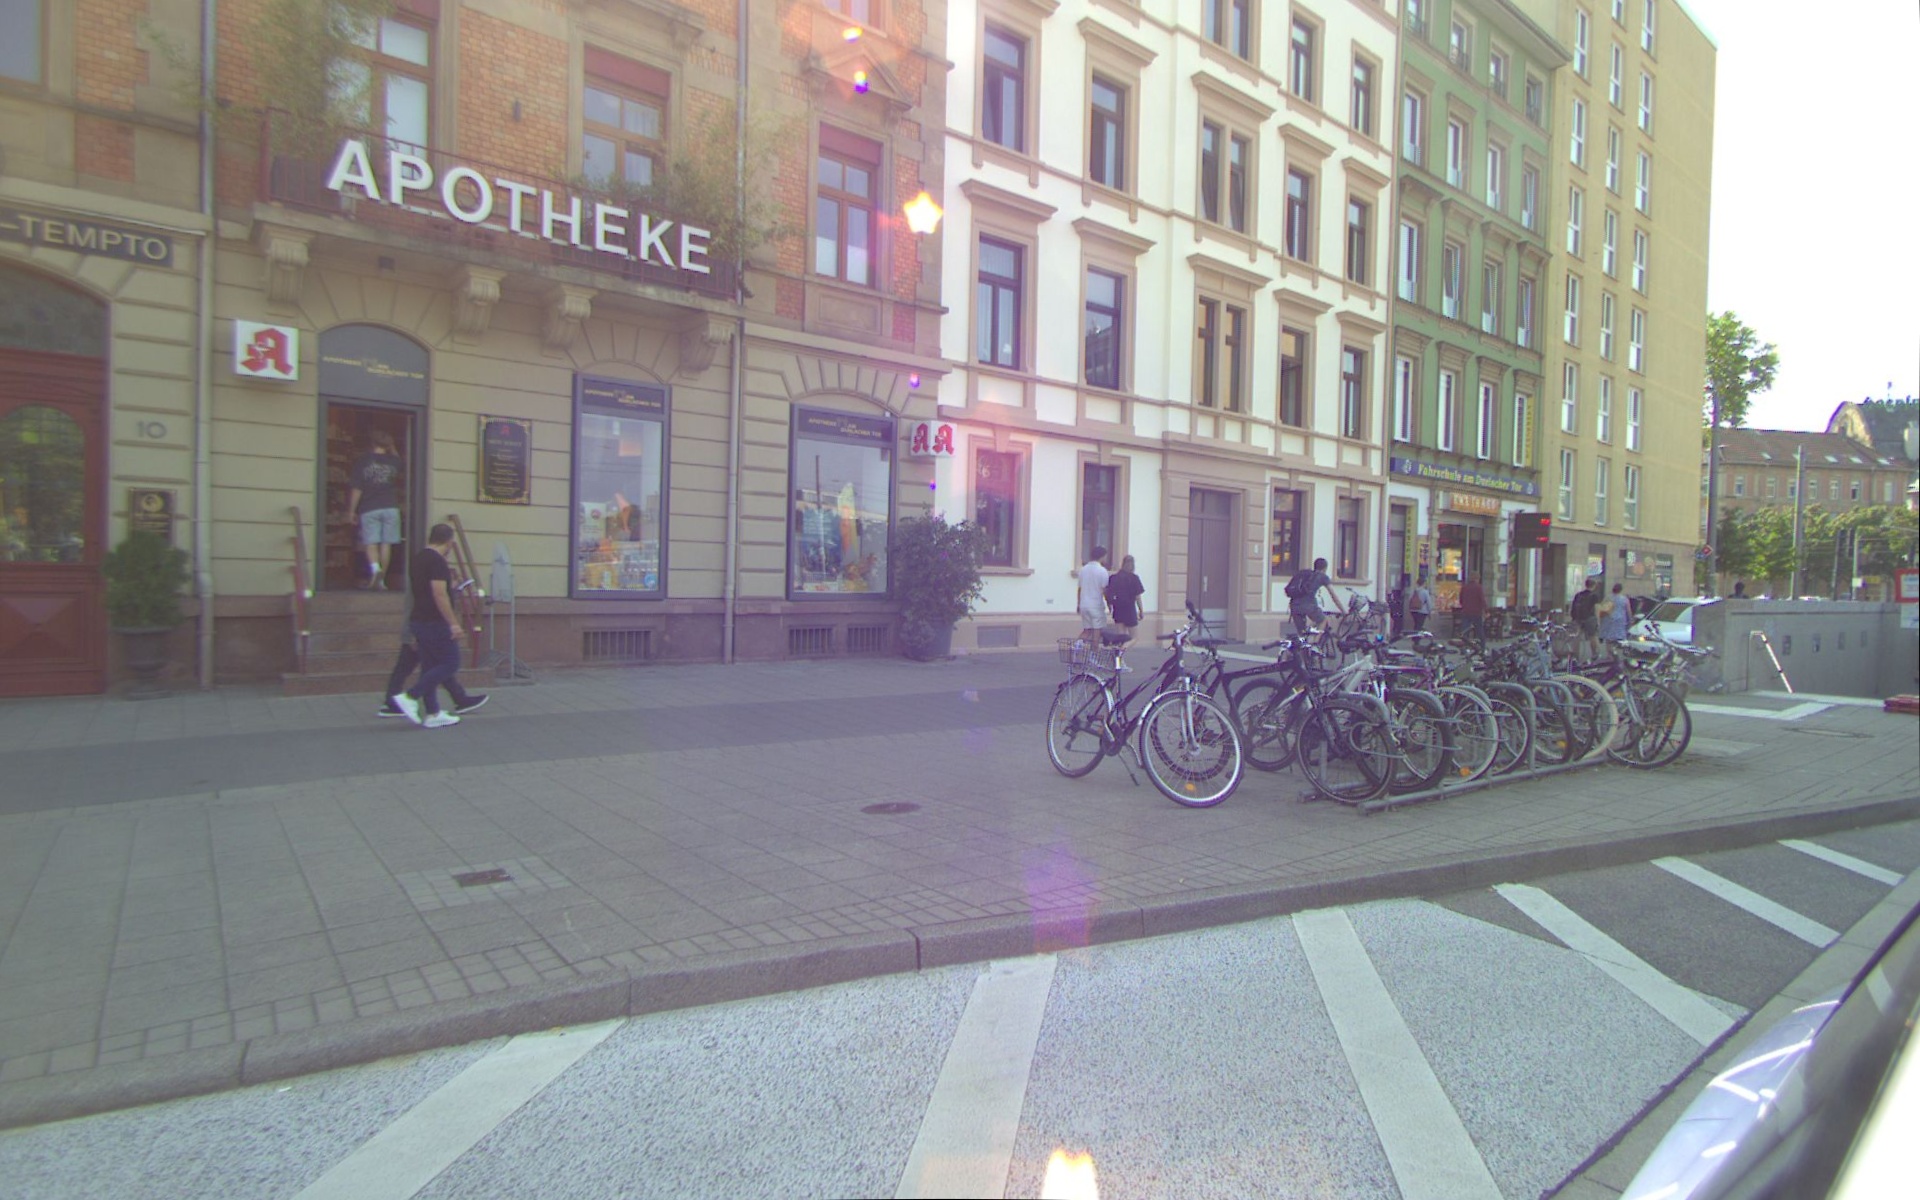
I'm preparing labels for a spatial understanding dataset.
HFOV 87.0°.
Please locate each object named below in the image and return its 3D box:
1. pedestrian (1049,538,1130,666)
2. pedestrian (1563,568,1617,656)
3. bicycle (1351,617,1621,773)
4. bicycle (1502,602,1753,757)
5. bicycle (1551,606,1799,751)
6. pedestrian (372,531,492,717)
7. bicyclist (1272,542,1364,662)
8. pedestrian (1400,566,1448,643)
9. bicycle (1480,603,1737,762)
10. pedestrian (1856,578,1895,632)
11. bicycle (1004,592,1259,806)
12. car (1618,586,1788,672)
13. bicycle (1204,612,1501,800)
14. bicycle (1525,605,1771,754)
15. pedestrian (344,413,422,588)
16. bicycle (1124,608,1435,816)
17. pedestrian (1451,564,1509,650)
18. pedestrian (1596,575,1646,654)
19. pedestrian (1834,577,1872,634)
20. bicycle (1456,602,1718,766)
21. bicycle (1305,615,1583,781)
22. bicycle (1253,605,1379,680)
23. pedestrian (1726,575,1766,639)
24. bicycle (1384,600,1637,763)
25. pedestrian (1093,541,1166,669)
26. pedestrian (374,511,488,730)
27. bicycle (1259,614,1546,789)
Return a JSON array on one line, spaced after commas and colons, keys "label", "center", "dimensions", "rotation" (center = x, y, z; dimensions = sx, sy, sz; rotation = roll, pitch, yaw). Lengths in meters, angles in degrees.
[{"label": "pedestrian", "center": [1.937, 0.008, 15.090], "dimensions": [0.913, 1.826, 0.726], "rotation": [0, 2, -42]}, {"label": "pedestrian", "center": [13.095, 0.238, 21.051], "dimensions": [0.783, 1.780, 0.688], "rotation": [0, 2, -41]}, {"label": "bicycle", "center": [4.196, 0.696, 8.208], "dimensions": [0.645, 1.070, 1.842], "rotation": [0, 0, -38]}, {"label": "bicycle", "center": [5.913, 0.649, 9.077], "dimensions": [0.427, 1.235, 1.842], "rotation": [0, 0, -38]}, {"label": "bicycle", "center": [6.779, 0.688, 9.689], "dimensions": [0.626, 1.218, 1.842], "rotation": [0, 0, -37]}, {"label": "pedestrian", "center": [-4.573, 0.185, 8.763], "dimensions": [0.827, 1.528, 0.558], "rotation": [0, 2, -38]}, {"label": "bicyclist", "center": [5.036, 0.019, 14.248], "dimensions": [1.082, 1.606, 0.721], "rotation": [1, 1, -38]}, {"label": "pedestrian", "center": [10.259, 0.089, 22.382], "dimensions": [0.783, 1.648, 0.645], "rotation": [0, 2, -43]}, {"label": "bicycle", "center": [5.559, 0.653, 8.795], "dimensions": [0.427, 1.218, 1.842], "rotation": [0, 0, -38]}, {"label": "pedestrian", "center": [28.911, 0.153, 31.963], "dimensions": [0.781, 1.648, 0.647], "rotation": [1, 2, -31]}, {"label": "bicycle", "center": [1.061, 0.552, 6.572], "dimensions": [0.677, 1.199, 1.608], "rotation": [0, 0, -37]}, {"label": "car", "center": [14.830, 0.523, 20.146], "dimensions": [3.861, 1.444, 1.668], "rotation": [0, 4, -38]}, {"label": "bicycle", "center": [2.618, 0.641, 6.951], "dimensions": [0.645, 1.074, 1.842], "rotation": [0, 0, -38]}, {"label": "bicycle", "center": [6.290, 0.668, 9.358], "dimensions": [0.427, 1.218, 1.842], "rotation": [0, 0, -38]}, {"label": "pedestrian", "center": [-6.493, -1.085, 11.375], "dimensions": [0.650, 1.886, 0.738], "rotation": [0, 1, -39]}, {"label": "bicycle", "center": [1.950, 0.615, 6.412], "dimensions": [0.686, 1.089, 1.807], "rotation": [0, 0, -38]}, {"label": "pedestrian", "center": [10.972, 0.129, 21.345], "dimensions": [0.867, 1.755, 0.771], "rotation": [0, 2, -43]}, {"label": "pedestrian", "center": [14.353, 0.296, 21.979], "dimensions": [0.782, 1.648, 0.645], "rotation": [0, 2, -39]}, {"label": "pedestrian", "center": [26.243, 0.156, 29.738], "dimensions": [0.782, 1.648, 0.646], "rotation": [0, 2, -38]}, {"label": "bicycle", "center": [5.214, 0.641, 8.539], "dimensions": [0.427, 1.218, 1.842], "rotation": [0, 0, -38]}, {"label": "bicycle", "center": [3.658, 0.682, 7.795], "dimensions": [0.645, 1.074, 1.842], "rotation": [0, 0, -38]}, {"label": "bicycle", "center": [5.033, 0.568, 14.255], "dimensions": [1.964, 0.965, 0.721], "rotation": [1, 1, -38]}, {"label": "pedestrian", "center": [20.919, 0.165, 26.944], "dimensions": [0.783, 1.648, 0.645], "rotation": [0, 2, -41]}, {"label": "bicycle", "center": [4.630, 0.623, 8.640], "dimensions": [0.539, 1.218, 1.842], "rotation": [0, 0, -38]}, {"label": "pedestrian", "center": [2.455, 0.054, 14.679], "dimensions": [0.783, 1.793, 0.645], "rotation": [0, 2, -43]}, {"label": "pedestrian", "center": [-4.282, 0.145, 8.183], "dimensions": [0.695, 1.671, 0.646], "rotation": [0, 2, -37]}, {"label": "bicycle", "center": [3.151, 0.659, 7.381], "dimensions": [0.645, 1.066, 1.842], "rotation": [0, 0, -38]}]
